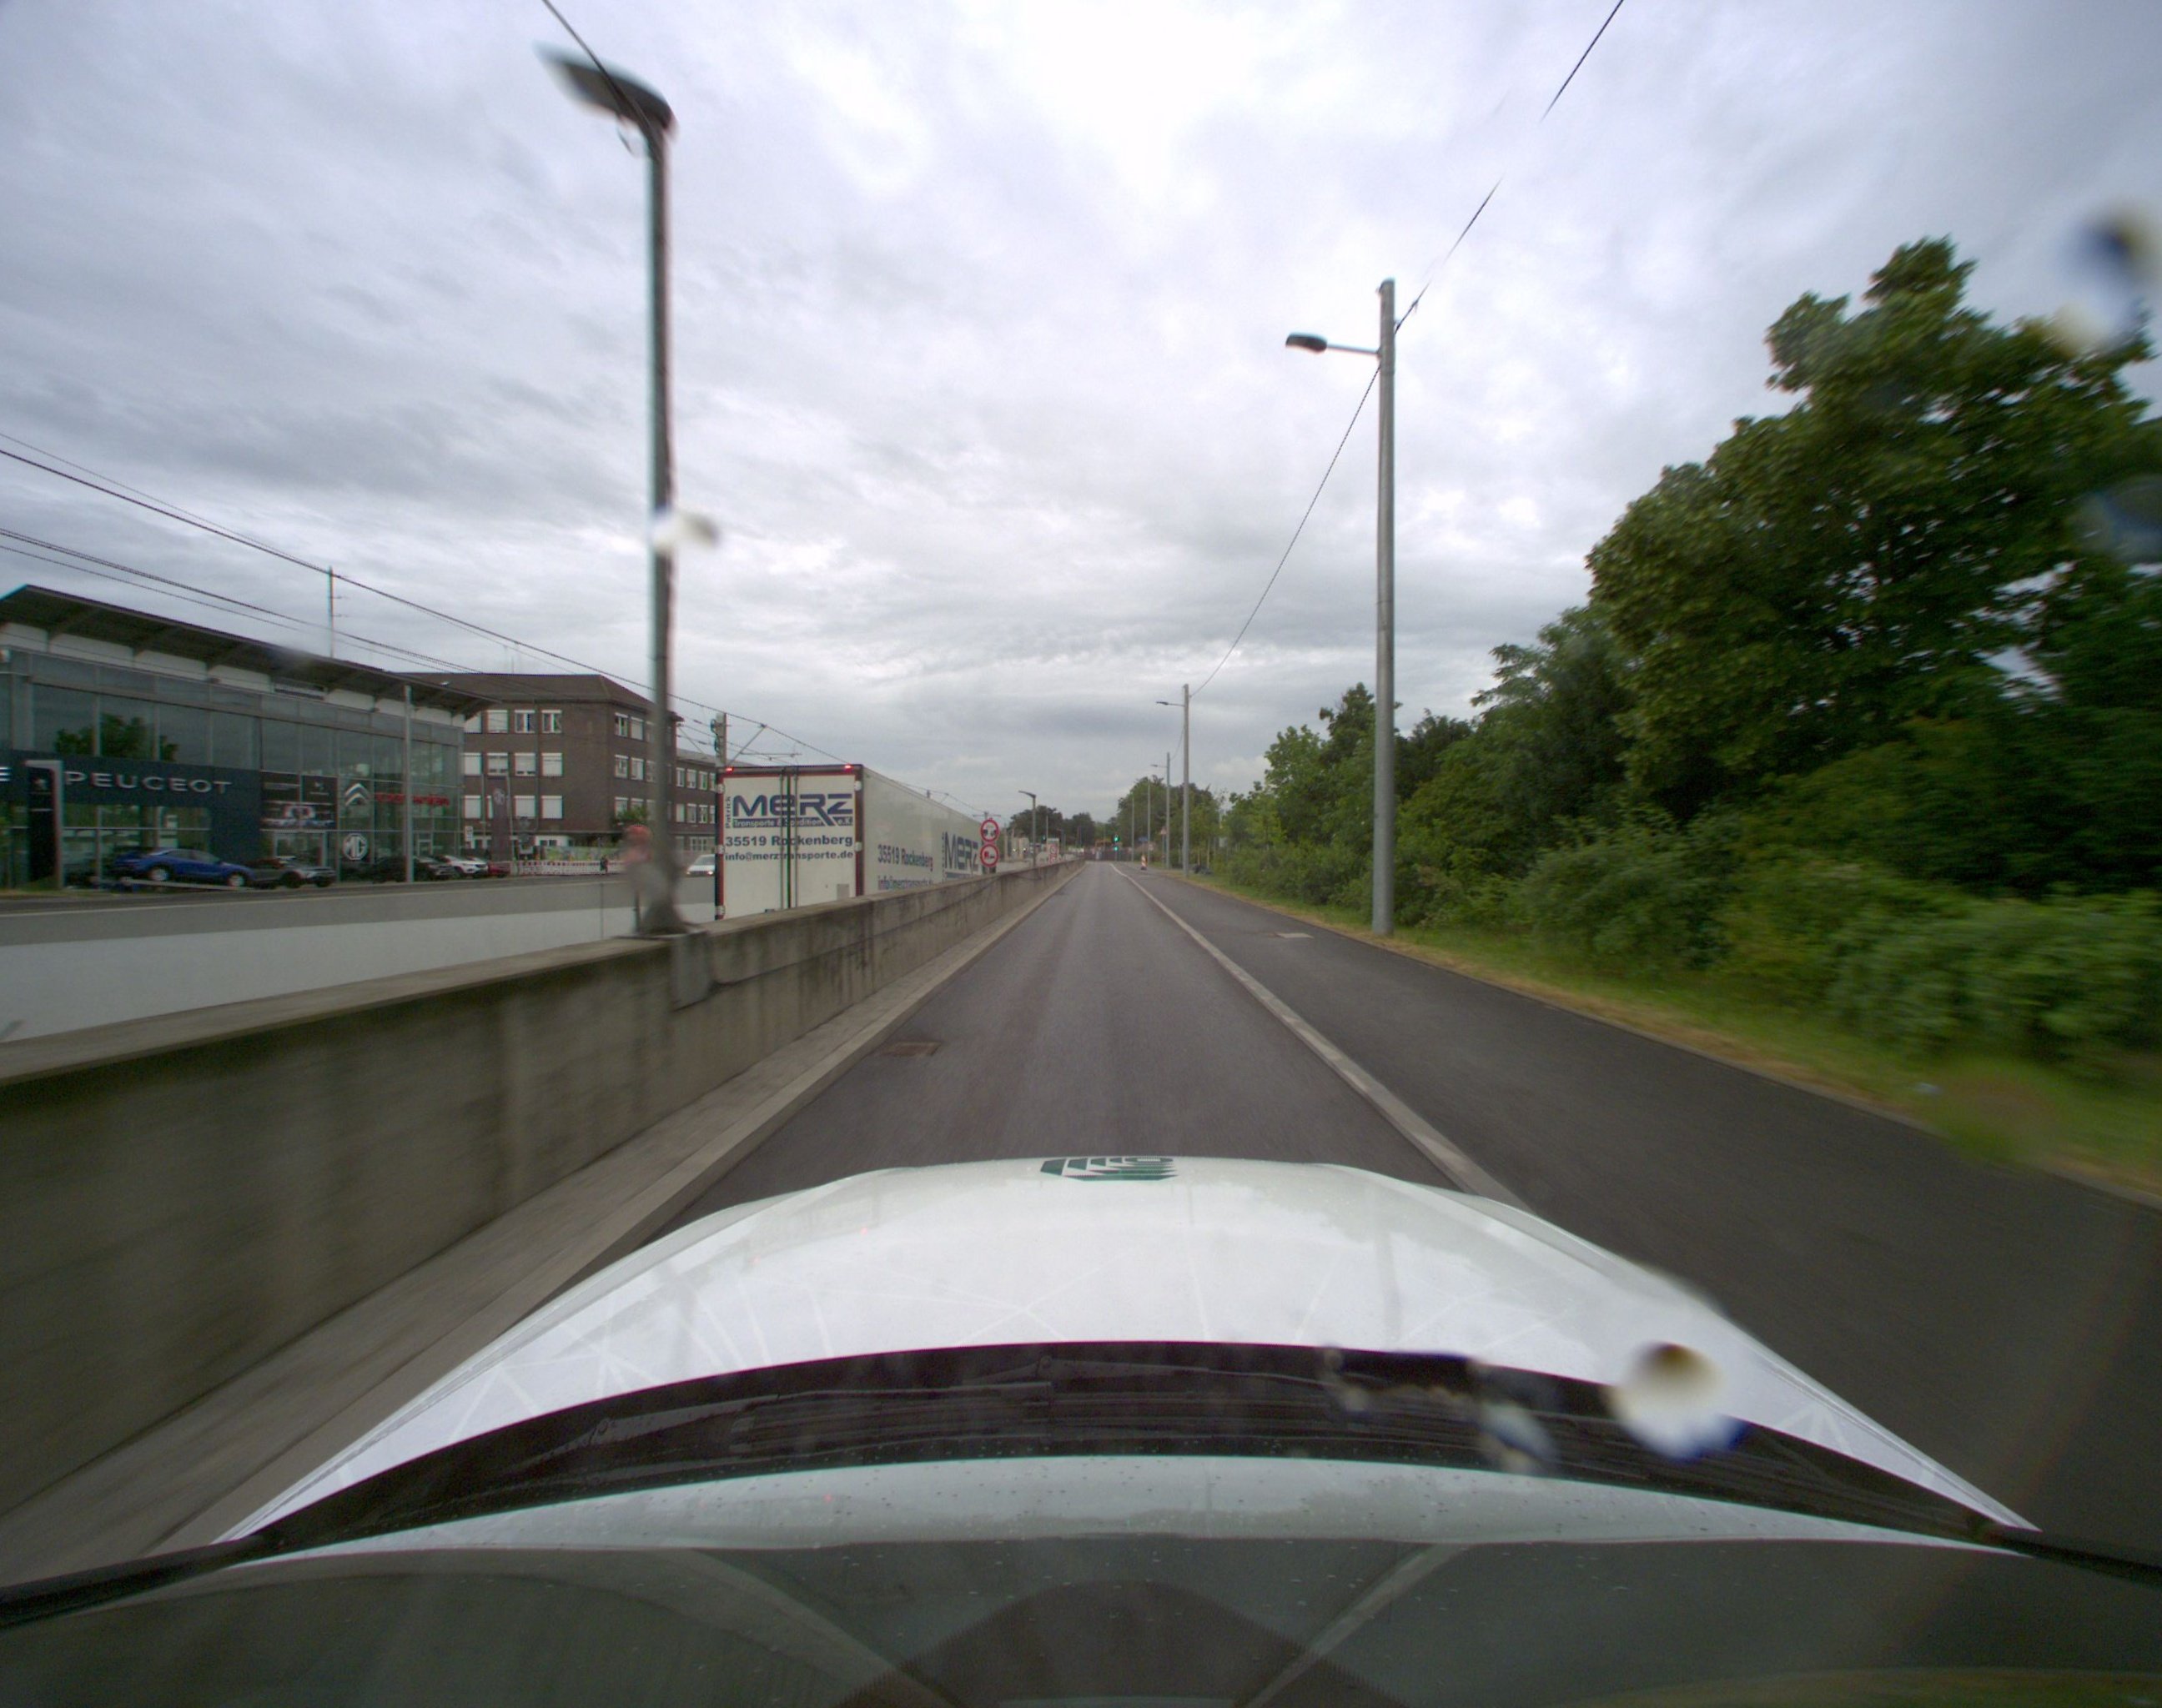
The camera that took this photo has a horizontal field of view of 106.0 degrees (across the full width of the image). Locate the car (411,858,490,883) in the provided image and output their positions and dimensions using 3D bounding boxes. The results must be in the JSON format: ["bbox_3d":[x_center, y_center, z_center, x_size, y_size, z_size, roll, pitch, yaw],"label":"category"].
[{"bbox_3d":[-38.317,0.997,49.543,3.467,1.397,1.751,-1,0,1],"label":"car"}]

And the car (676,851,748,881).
[{"bbox_3d":[-22.126,0.680,49.031,1.994,1.695,5.035,0,0,0],"label":"car"}]

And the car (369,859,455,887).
[{"bbox_3d":[-38.471,1.079,46.893,3.467,1.474,1.751,-1,0,1],"label":"car"}]

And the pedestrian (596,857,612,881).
[{"bbox_3d":[-34.747,1.107,59.345,0.613,1.750,0.840,-1,0,1],"label":"pedestrian"}]

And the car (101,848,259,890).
[{"bbox_3d":[-38.018,0.701,34.532,1.750,1.610,4.078,-1,-4,11],"label":"car"}]

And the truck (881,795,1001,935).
[{"bbox_3d":[-4.607,0.328,28.140,2.746,4.205,6.309,-2,0,2],"label":"truck"}]

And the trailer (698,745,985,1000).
[{"bbox_3d":[-4.861,0.299,20.442,2.752,4.252,13.189,-2,0,2],"label":"trailer"}]

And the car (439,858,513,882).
[{"bbox_3d":[-38.549,0.987,51.944,3.471,1.382,1.617,-2,0,-2],"label":"car"}]

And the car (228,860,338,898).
[{"bbox_3d":[-38.312,1.193,39.134,3.494,1.402,1.573,-6,1,-2],"label":"car"}]
